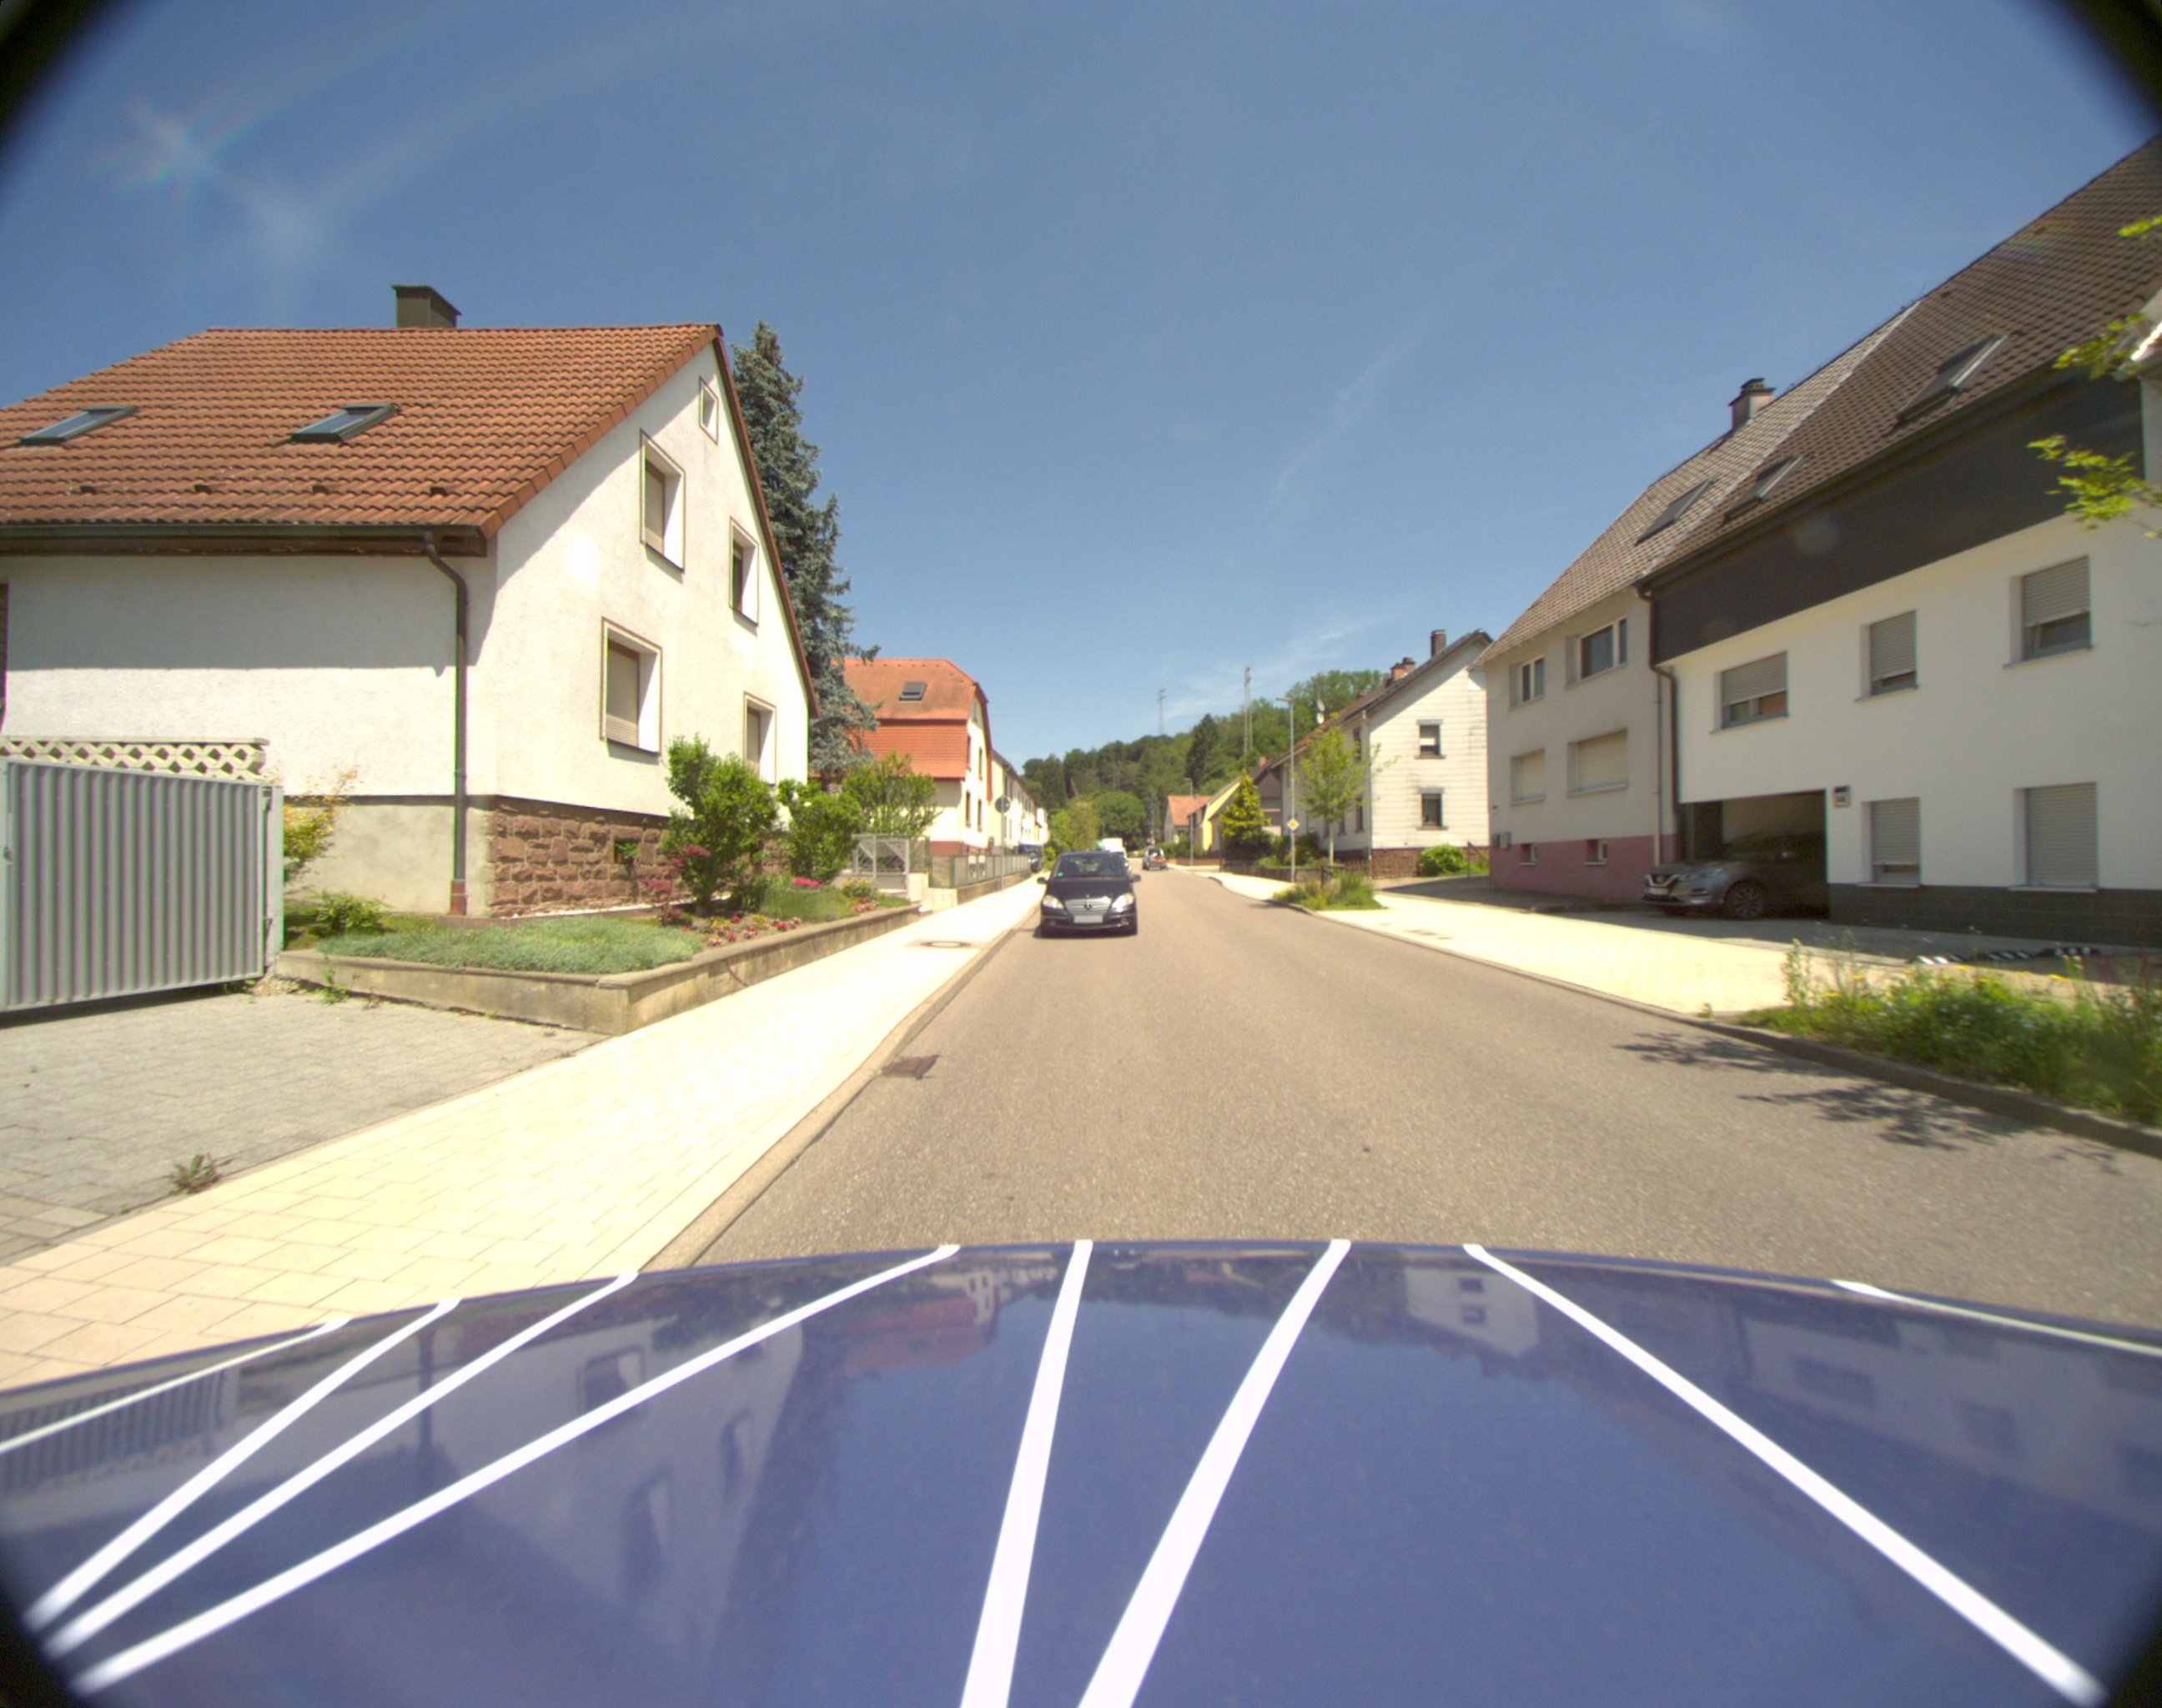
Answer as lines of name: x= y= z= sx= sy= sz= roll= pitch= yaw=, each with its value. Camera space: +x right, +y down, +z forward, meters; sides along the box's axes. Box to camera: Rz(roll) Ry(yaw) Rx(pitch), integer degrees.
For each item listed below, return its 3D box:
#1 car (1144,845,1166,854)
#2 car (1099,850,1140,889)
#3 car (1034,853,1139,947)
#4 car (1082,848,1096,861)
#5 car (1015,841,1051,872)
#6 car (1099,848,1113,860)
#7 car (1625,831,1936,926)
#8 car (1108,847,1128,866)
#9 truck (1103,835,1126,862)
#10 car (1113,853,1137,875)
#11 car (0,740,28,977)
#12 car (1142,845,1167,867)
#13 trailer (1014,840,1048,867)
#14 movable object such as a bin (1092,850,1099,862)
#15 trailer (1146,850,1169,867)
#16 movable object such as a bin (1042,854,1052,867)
car: x=14.824 y=-0.890 z=151.659 sx=4.004 sy=1.779 sz=1.807 roll=-2 pitch=1 yaw=-21
car: x=1.738 y=0.669 z=34.325 sx=1.714 sy=1.595 sz=3.880 roll=-2 pitch=0 yaw=3
car: x=0.201 y=0.806 z=15.421 sx=1.790 sy=1.595 sz=4.076 roll=-2 pitch=0 yaw=3
car: x=1.177 y=0.026 z=112.414 sx=1.860 sy=1.832 sz=4.669 roll=1 pitch=0 yaw=-2
car: x=-3.330 y=0.166 z=53.652 sx=1.856 sy=1.959 sz=4.774 roll=6 pitch=0 yaw=2
car: x=3.986 y=-0.038 z=120.527 sx=1.998 sy=1.805 sz=4.000 roll=-2 pitch=0 yaw=3
car: x=12.715 y=0.424 z=14.020 sx=3.996 sy=1.536 sz=1.832 roll=-1 pitch=0 yaw=2
car: x=3.849 y=0.230 z=78.382 sx=1.967 sy=1.823 sz=4.465 roll=1 pitch=0 yaw=3
truck: x=4.491 y=-0.716 z=101.542 sx=2.805 sy=3.394 sz=8.120 roll=-2 pitch=0 yaw=2
car: x=3.376 y=0.731 z=57.852 sx=1.714 sy=1.595 sz=3.880 roll=-2 pitch=0 yaw=3
car: x=-9.743 y=0.090 z=4.697 sx=3.997 sy=1.696 sz=1.690 roll=-2 pitch=0 yaw=0
car: x=6.557 y=0.133 z=68.199 sx=1.894 sy=1.850 sz=4.578 roll=-2 pitch=0 yaw=2
trailer: x=-3.842 y=-0.037 z=58.768 sx=1.320 sy=2.002 sz=2.278 roll=-1 pitch=1 yaw=44
movable object such as a bin: x=1.758 y=0.228 z=91.712 sx=0.794 sy=1.387 sz=0.925 roll=-1 pitch=1 yaw=-1
trailer: x=6.400 y=0.336 z=64.005 sx=1.578 sy=1.388 sz=4.403 roll=-1 pitch=0 yaw=1
movable object such as a bin: x=-3.029 y=0.589 z=67.993 sx=0.685 sy=1.109 sz=0.812 roll=3 pitch=2 yaw=7
